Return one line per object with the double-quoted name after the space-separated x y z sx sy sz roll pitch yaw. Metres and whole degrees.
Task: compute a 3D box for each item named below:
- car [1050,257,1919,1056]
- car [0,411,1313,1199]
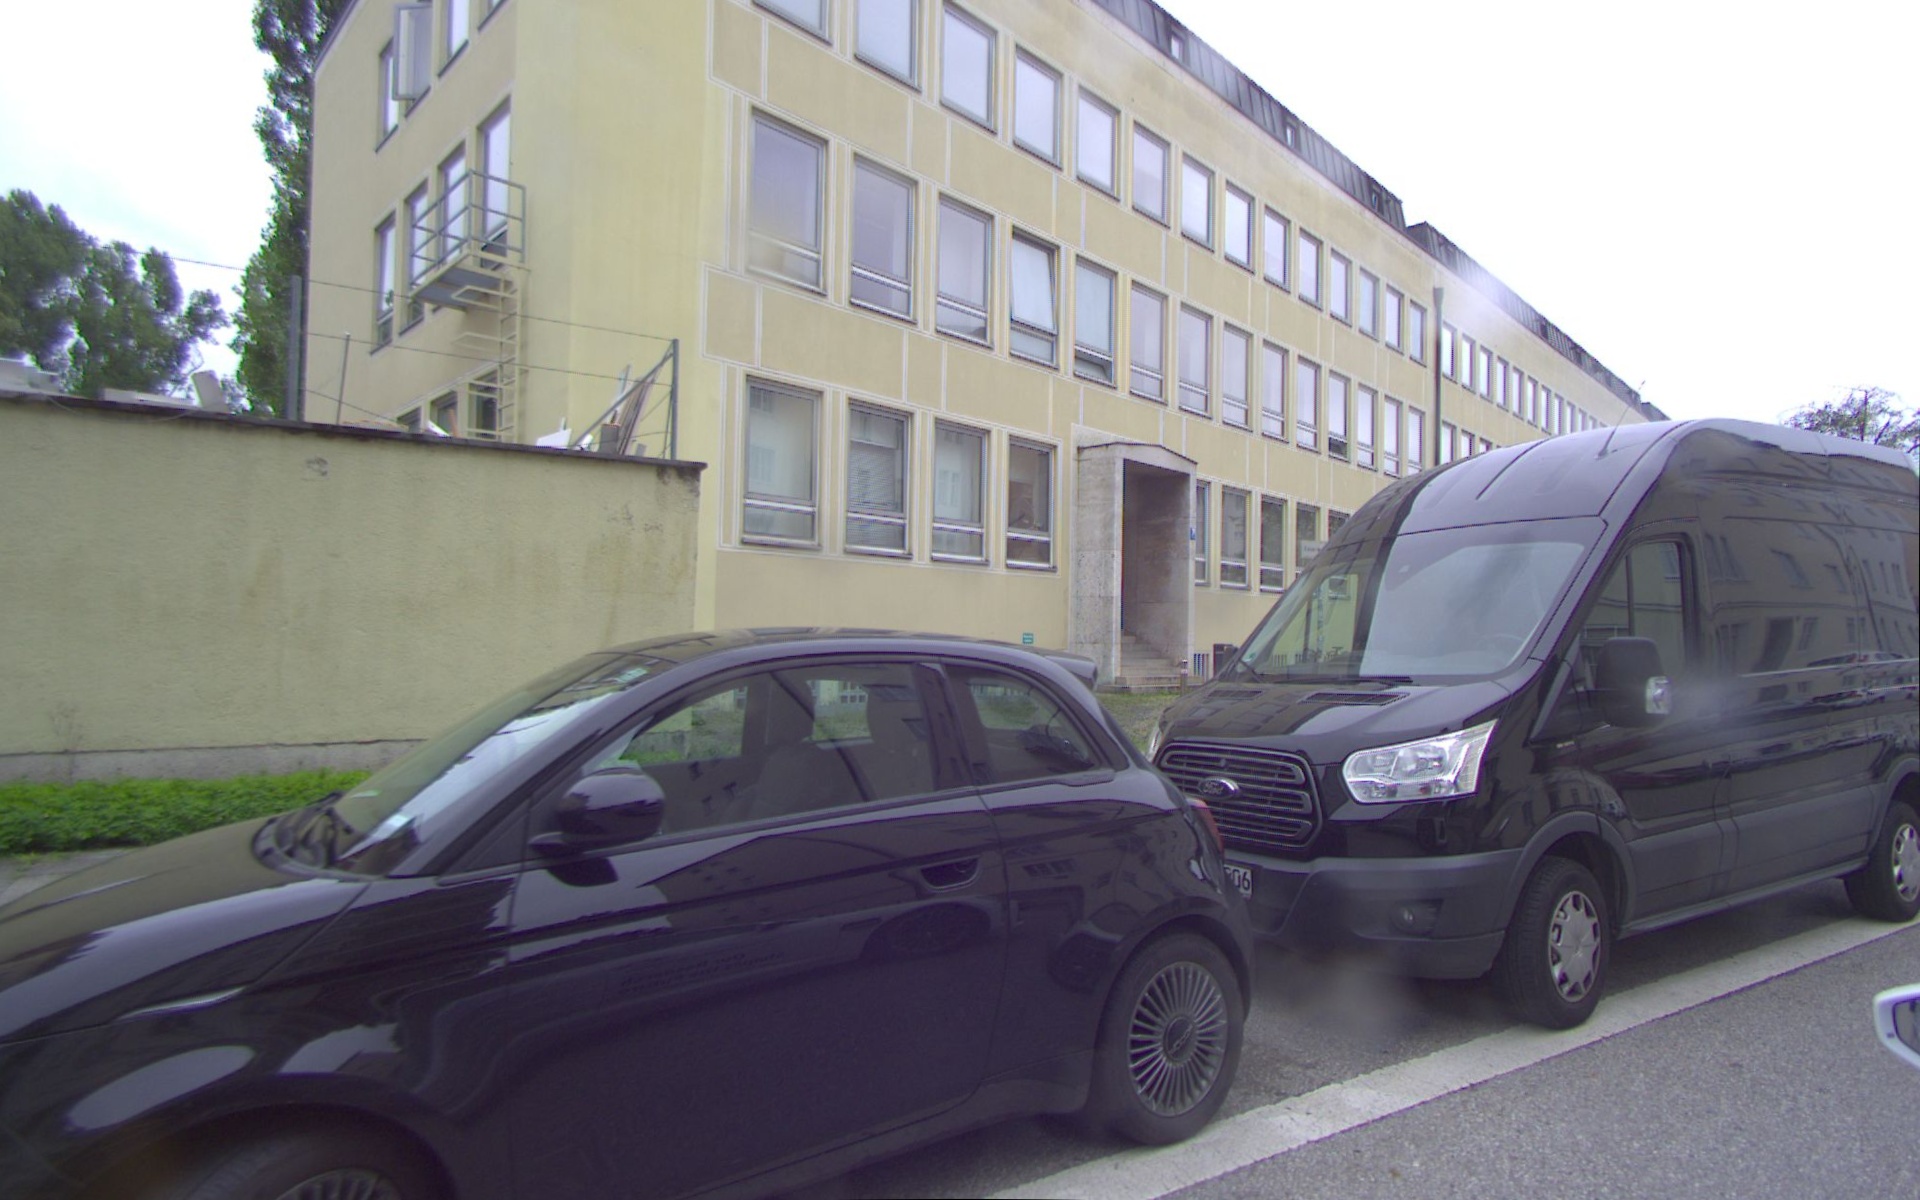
3.286 0.266 5.577 5.311 2.671 2.079 2 -1 -29 "car"
-0.749 0.574 2.914 3.509 1.558 1.575 4 -1 -35 "car"
